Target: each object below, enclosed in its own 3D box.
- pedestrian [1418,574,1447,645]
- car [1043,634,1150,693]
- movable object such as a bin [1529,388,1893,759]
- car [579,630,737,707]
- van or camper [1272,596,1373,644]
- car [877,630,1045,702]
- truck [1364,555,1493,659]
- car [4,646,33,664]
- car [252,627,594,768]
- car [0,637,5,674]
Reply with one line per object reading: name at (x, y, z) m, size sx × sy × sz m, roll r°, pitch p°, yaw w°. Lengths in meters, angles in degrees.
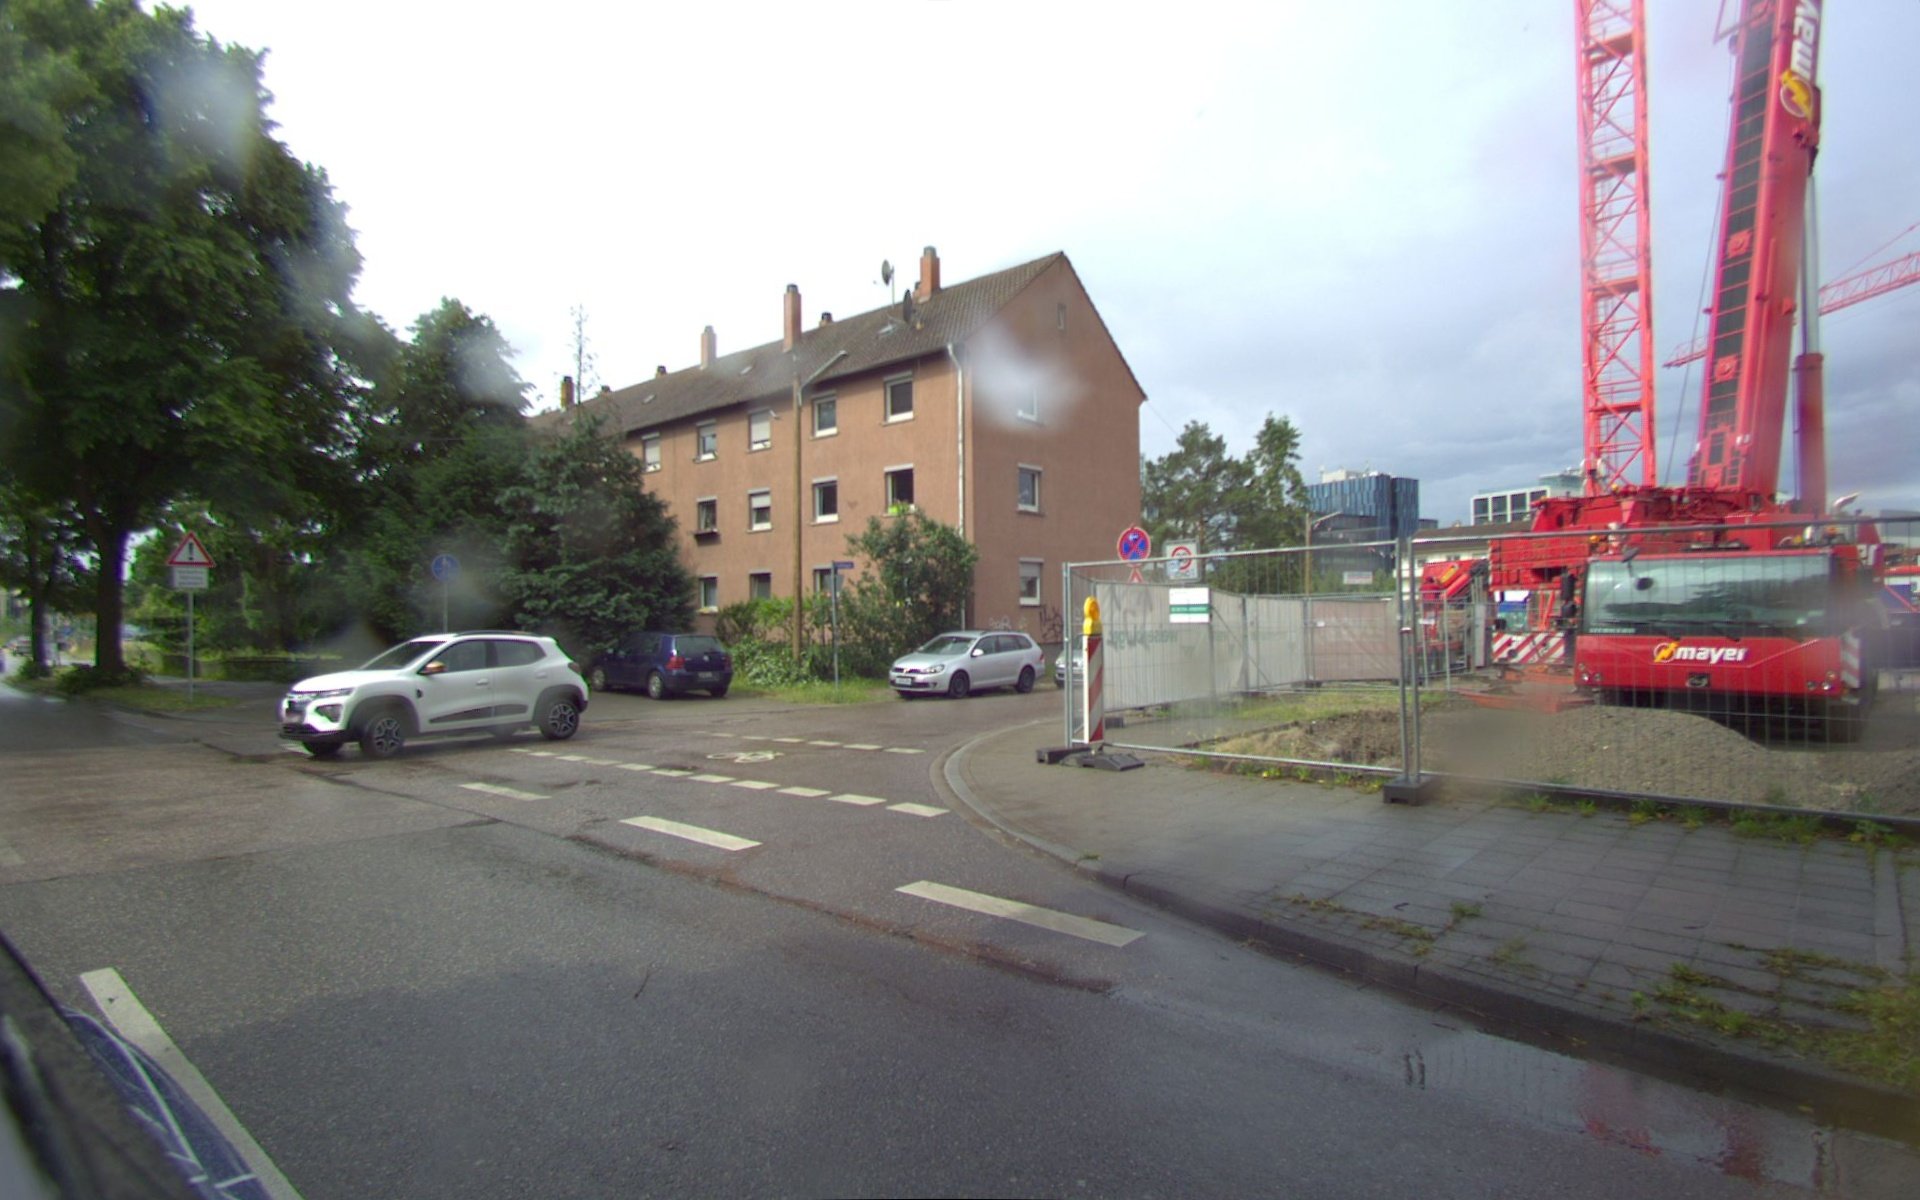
pedestrian at (13.690, 0.278, 29.297) m, size 0.685 × 2.029 × 0.487 m, roll -1°, pitch -5°, yaw 34°
car at (3.736, 1.639, 27.097) m, size 1.718 × 1.424 × 4.032 m, roll -2°, pitch -2°, yaw 25°
movable object such as a bin at (12.284, -0.233, 15.988) m, size 3.366 × 4.147 × 9.703 m, roll -3°, pitch -2°, yaw 43°
car at (-6.724, 1.438, 22.359) m, size 3.870 × 1.431 × 1.606 m, roll 0°, pitch 0°, yaw 43°
van or camper at (16.315, 0.930, 45.590) m, size 3.986 × 2.029 × 1.928 m, roll -1°, pitch -4°, yaw 32°
car at (0.108, 1.449, 23.389) m, size 1.726 × 1.485 × 4.013 m, roll -2°, pitch -2°, yaw 39°
truck at (16.109, 0.145, 34.525) m, size 2.347 × 3.219 × 6.927 m, roll -1°, pitch 1°, yaw 39°
car at (-81.899, 4.765, 88.055) m, size 3.795 × 1.519 × 1.661 m, roll -3°, pitch -3°, yaw 45°
car at (-6.852, 1.149, 13.227) m, size 1.734 × 1.545 × 3.573 m, roll -2°, pitch -2°, yaw 35°
car at (-46.134, 2.592, 47.280) m, size 4.228 × 1.727 × 1.866 m, roll -3°, pitch -3°, yaw 42°
